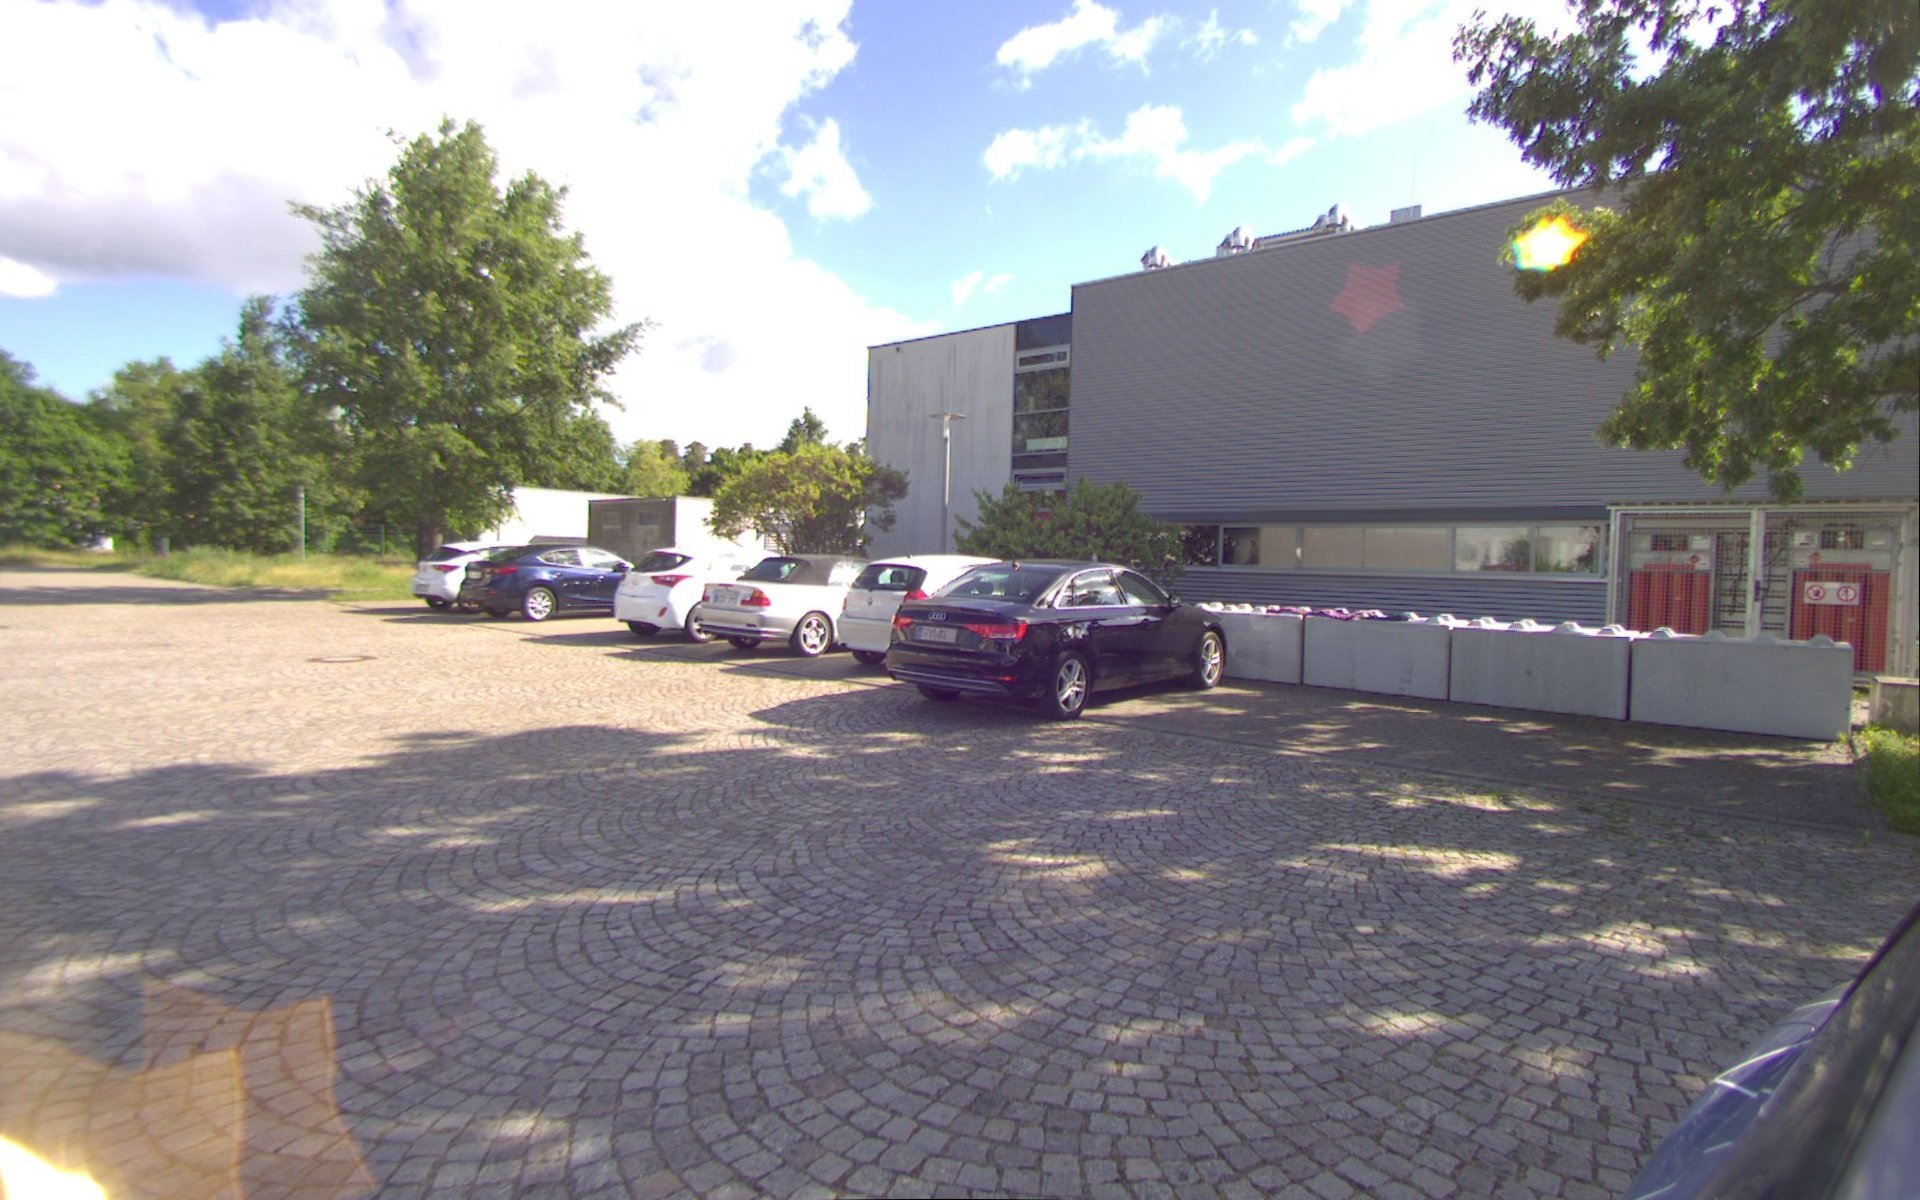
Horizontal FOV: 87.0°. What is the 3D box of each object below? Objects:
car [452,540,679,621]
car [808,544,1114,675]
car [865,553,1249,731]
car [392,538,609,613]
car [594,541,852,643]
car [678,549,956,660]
[{"bbox_3d":[-7.700,-0.449,20.015,1.686,1.434,3.867,3,4,41],"label":"car"},{"bbox_3d":[0.130,0.007,13.540,4.084,1.477,1.687,-3,4,-44],"label":"car"},{"bbox_3d":[1.254,0.243,10.721,1.749,1.440,4.668,3,4,39],"label":"car"},{"bbox_3d":[-9.754,-0.573,21.678,1.789,1.452,3.867,3,4,41],"label":"car"},{"bbox_3d":[-3.785,-0.213,16.645,1.749,1.464,3.867,3,4,41],"label":"car"},{"bbox_3d":[-1.976,-0.045,14.847,1.721,1.388,3.867,3,4,41],"label":"car"}]
